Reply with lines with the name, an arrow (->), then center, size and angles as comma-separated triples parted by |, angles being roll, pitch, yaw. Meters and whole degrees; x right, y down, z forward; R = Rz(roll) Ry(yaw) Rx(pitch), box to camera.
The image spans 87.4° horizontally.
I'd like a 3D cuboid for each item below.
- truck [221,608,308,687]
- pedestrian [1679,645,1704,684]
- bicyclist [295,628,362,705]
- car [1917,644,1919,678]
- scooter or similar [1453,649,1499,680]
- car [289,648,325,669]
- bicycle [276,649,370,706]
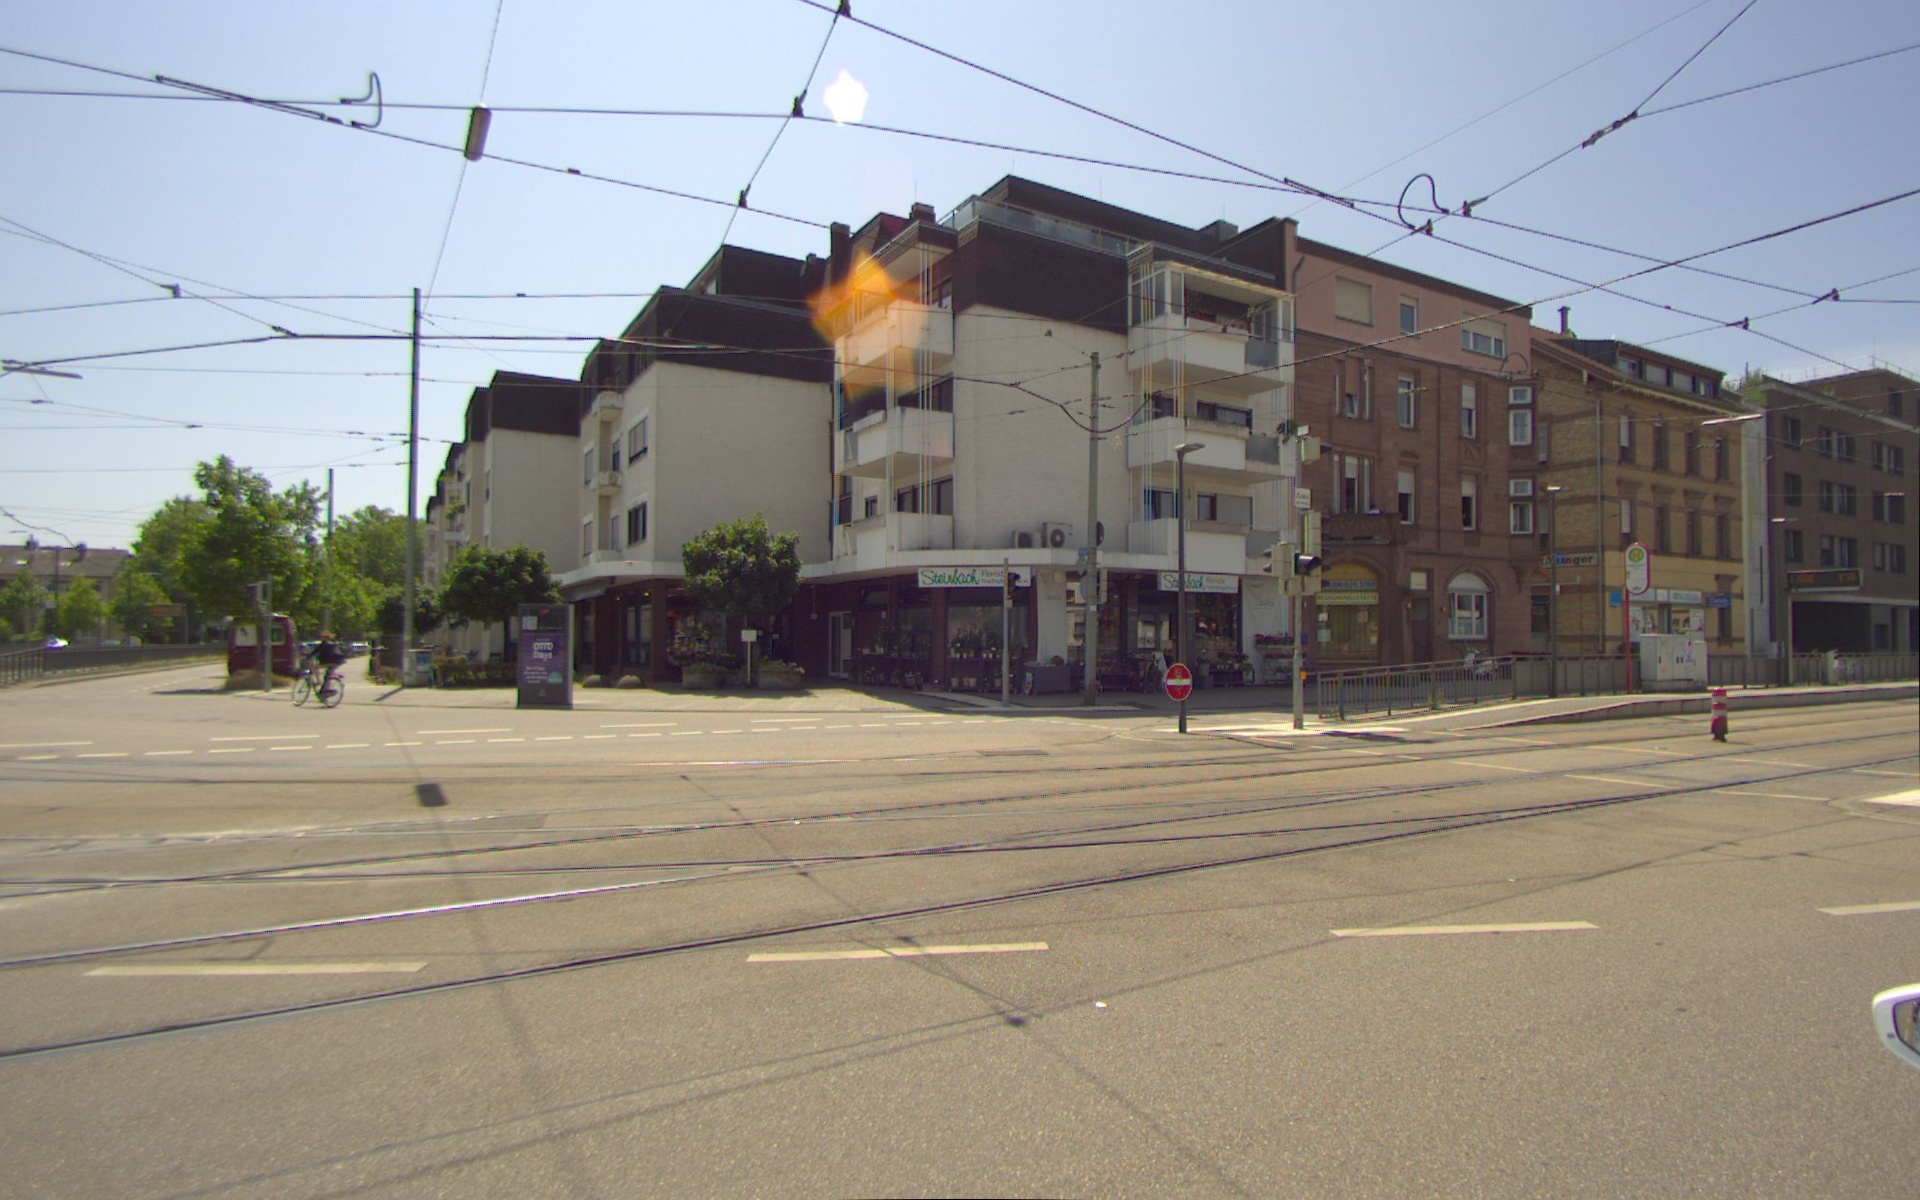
truck -> -25.924, 1.780, 37.607 | 2.161, 2.733, 5.004 | 1, -3, -30
pedestrian -> 29.986, 2.647, 41.188 | 0.633, 1.581, 0.611 | 1, -2, -31
bicyclist -> -14.982, 1.573, 23.844 | 1.112, 1.785, 0.735 | -1, -3, 17
car -> 45.728, 2.764, 45.745 | 3.951, 1.528, 1.986 | 1, -3, -29
scooter or similar -> 18.677, 2.345, 36.356 | 1.550, 1.096, 0.488 | 0, -2, -14
car -> -39.429, 3.517, 60.707 | 1.571, 1.256, 3.554 | 1, -3, -29
bicycle -> -15.150, 1.835, 23.888 | 2.063, 1.321, 0.679 | -1, -3, 17
